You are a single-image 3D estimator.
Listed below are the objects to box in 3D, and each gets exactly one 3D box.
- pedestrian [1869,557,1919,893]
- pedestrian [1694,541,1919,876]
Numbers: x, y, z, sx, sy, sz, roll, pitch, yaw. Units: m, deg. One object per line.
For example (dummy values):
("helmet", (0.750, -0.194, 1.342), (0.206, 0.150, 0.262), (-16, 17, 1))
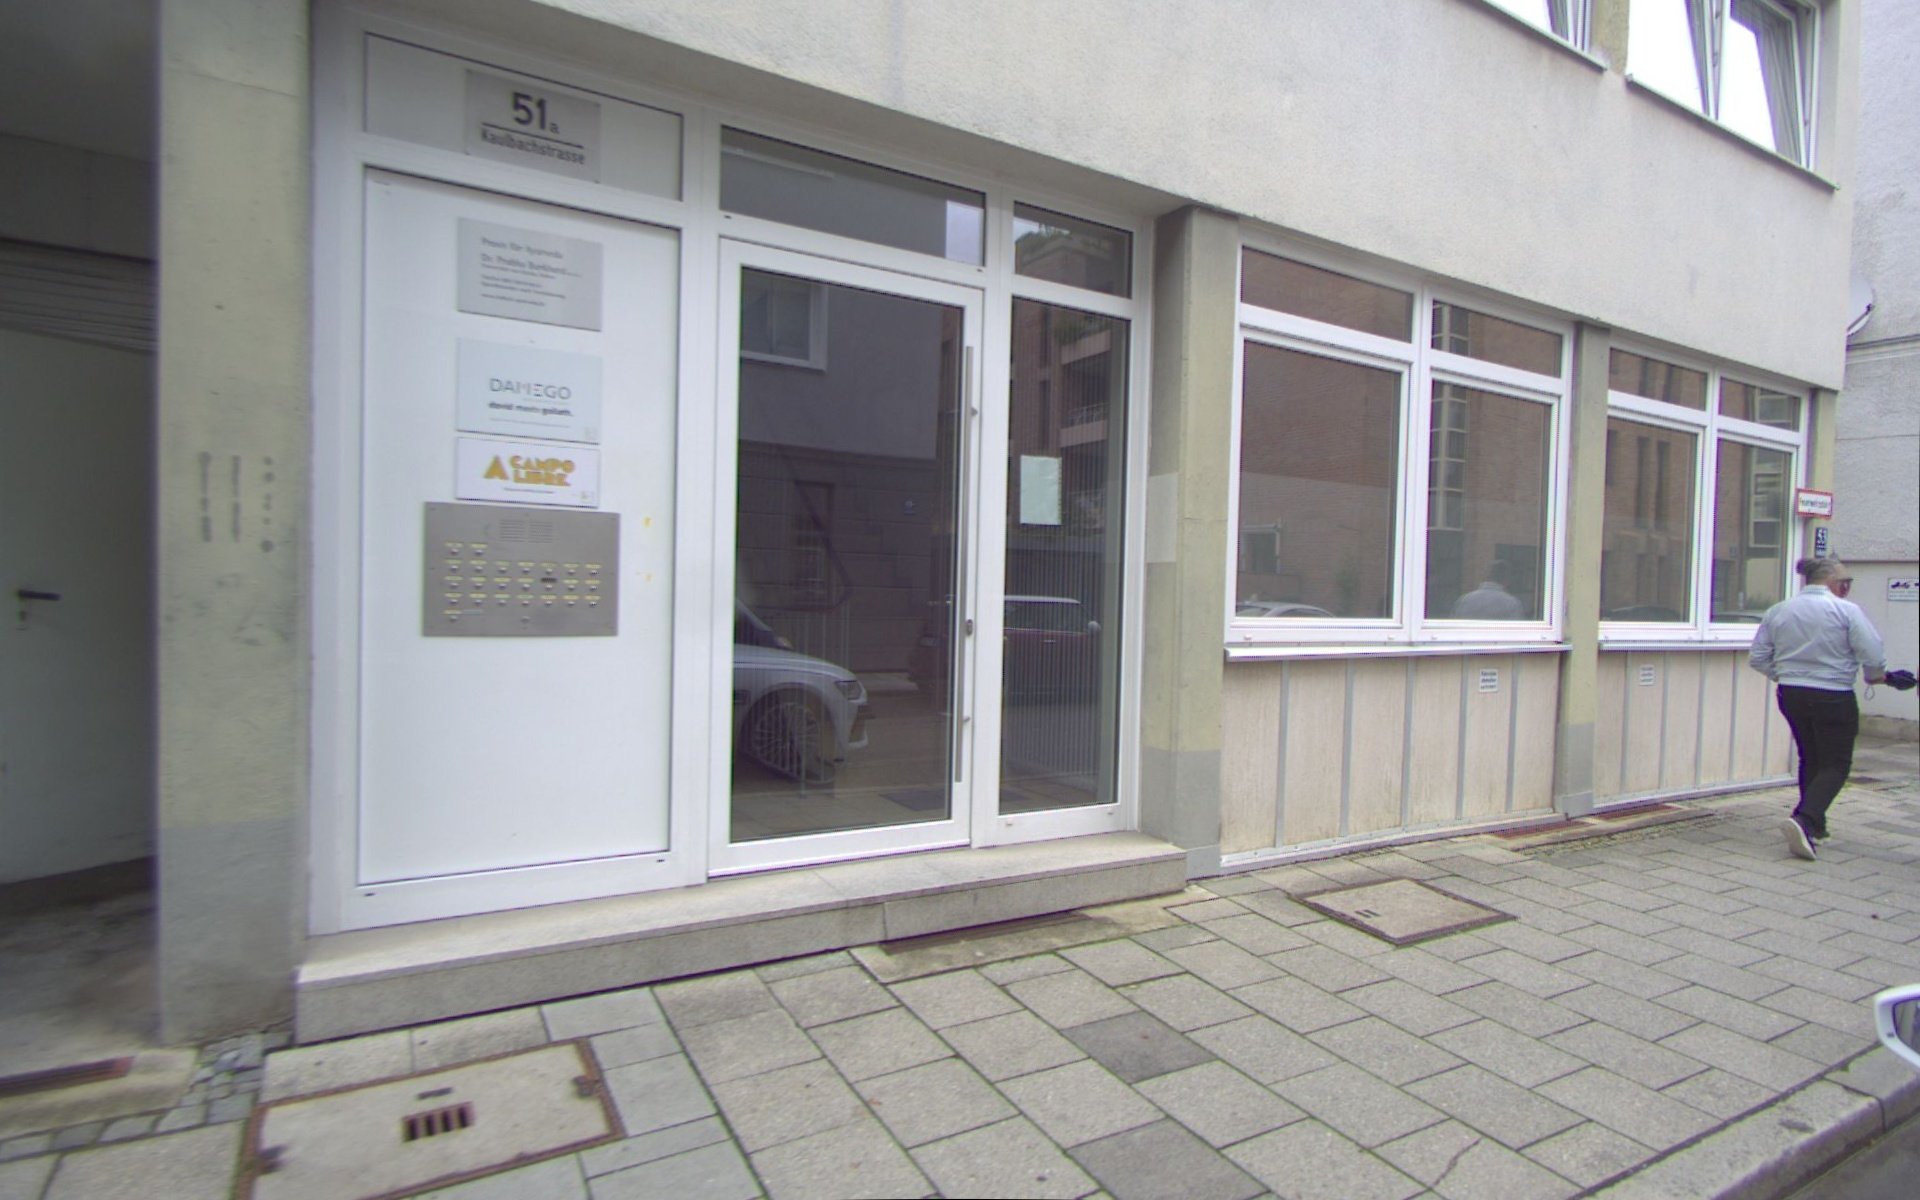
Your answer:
("pedestrian", (5.593, 0.688, 5.413), (0.828, 1.789, 0.715), (2, 2, -30))
("pedestrian", (5.057, 0.587, 5.978), (0.906, 1.821, 0.715), (2, 2, -30))
